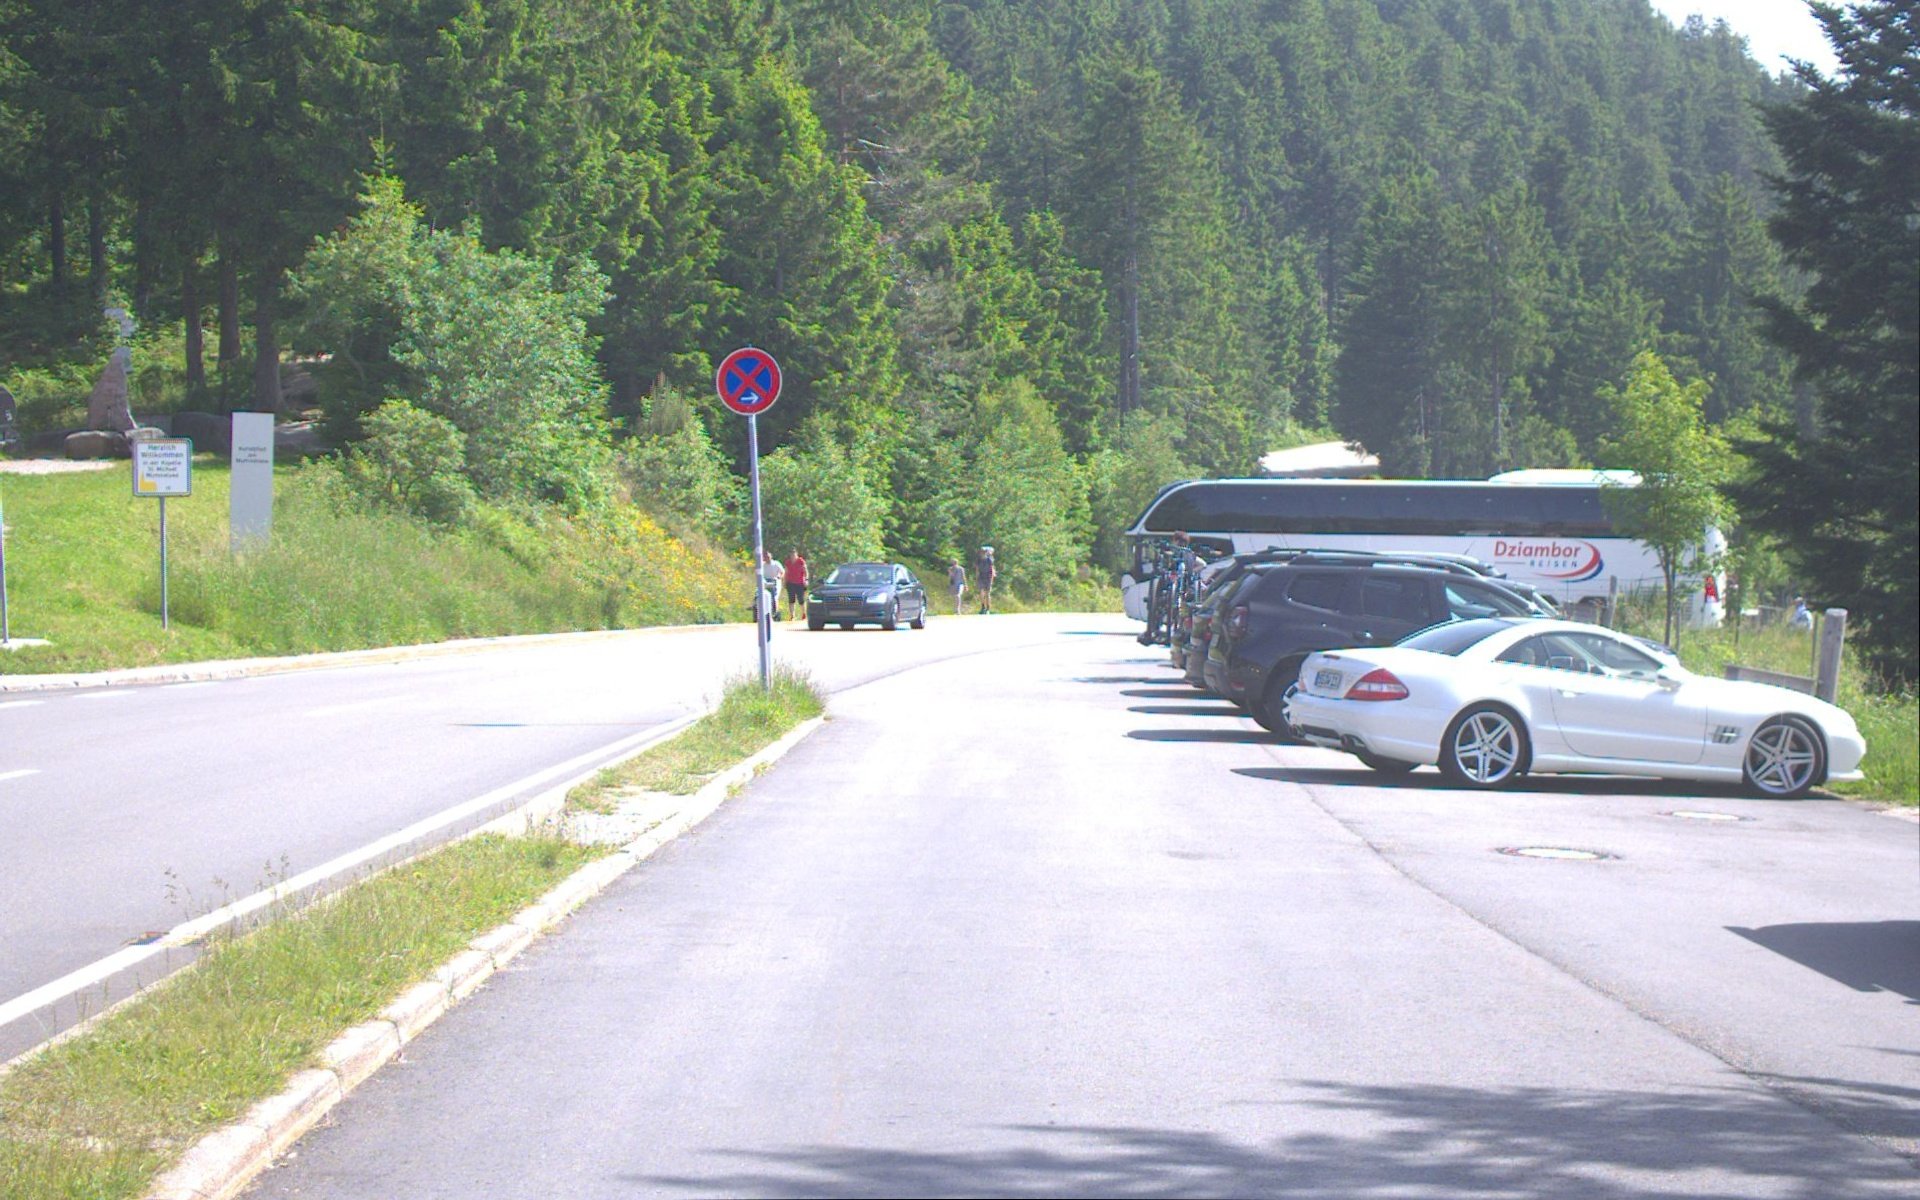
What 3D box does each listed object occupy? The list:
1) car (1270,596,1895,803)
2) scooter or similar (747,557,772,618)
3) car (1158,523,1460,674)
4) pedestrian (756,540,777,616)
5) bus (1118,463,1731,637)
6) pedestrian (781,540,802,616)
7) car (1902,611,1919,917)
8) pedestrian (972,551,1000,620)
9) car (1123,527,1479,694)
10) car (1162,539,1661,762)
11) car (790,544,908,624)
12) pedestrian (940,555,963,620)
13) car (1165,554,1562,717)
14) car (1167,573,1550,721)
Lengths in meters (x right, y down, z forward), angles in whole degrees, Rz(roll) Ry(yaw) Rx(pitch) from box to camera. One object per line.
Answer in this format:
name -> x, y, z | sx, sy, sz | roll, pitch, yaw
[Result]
car -> 4.801, 0.768, 26.595 | 4.452, 1.294, 1.583 | 3, 1, -17
scooter or similar -> -4.619, -0.291, 79.269 | 0.483, 1.375, 0.817 | -2, 3, -1
car -> 4.856, -0.045, 48.295 | 3.987, 1.808, 1.940 | 3, 3, 2
pedestrian -> -4.497, -0.508, 79.899 | 0.415, 1.741, 0.457 | -2, 3, -1
bus -> 10.054, -1.133, 74.632 | 12.870, 3.565, 2.980 | 0, 3, 16
pedestrian -> -3.902, -0.512, 79.554 | 0.394, 1.741, 0.406 | -2, 3, -1
car -> 5.523, 0.609, 14.108 | 1.905, 1.966, 4.820 | 3, 1, 0
pedestrian -> 0.763, -0.422, 100.989 | 0.732, 2.007, 0.862 | -2, 0, -1
car -> 4.051, 0.104, 41.340 | 3.987, 1.713, 1.868 | 3, 3, 0
car -> 4.032, 0.435, 31.100 | 3.986, 1.693, 2.001 | 3, 2, -8
car -> -2.378, -0.371, 74.790 | 1.994, 1.656, 3.999 | -1, 1, 6
pedestrian -> -0.251, -0.367, 102.314 | 0.622, 1.893, 0.655 | -2, 0, -1
car -> 4.341, 0.366, 37.483 | 3.987, 1.448, 2.000 | 3, 3, -1
car -> 4.005, 0.461, 34.949 | 3.635, 1.299, 1.641 | 2, 3, -1
